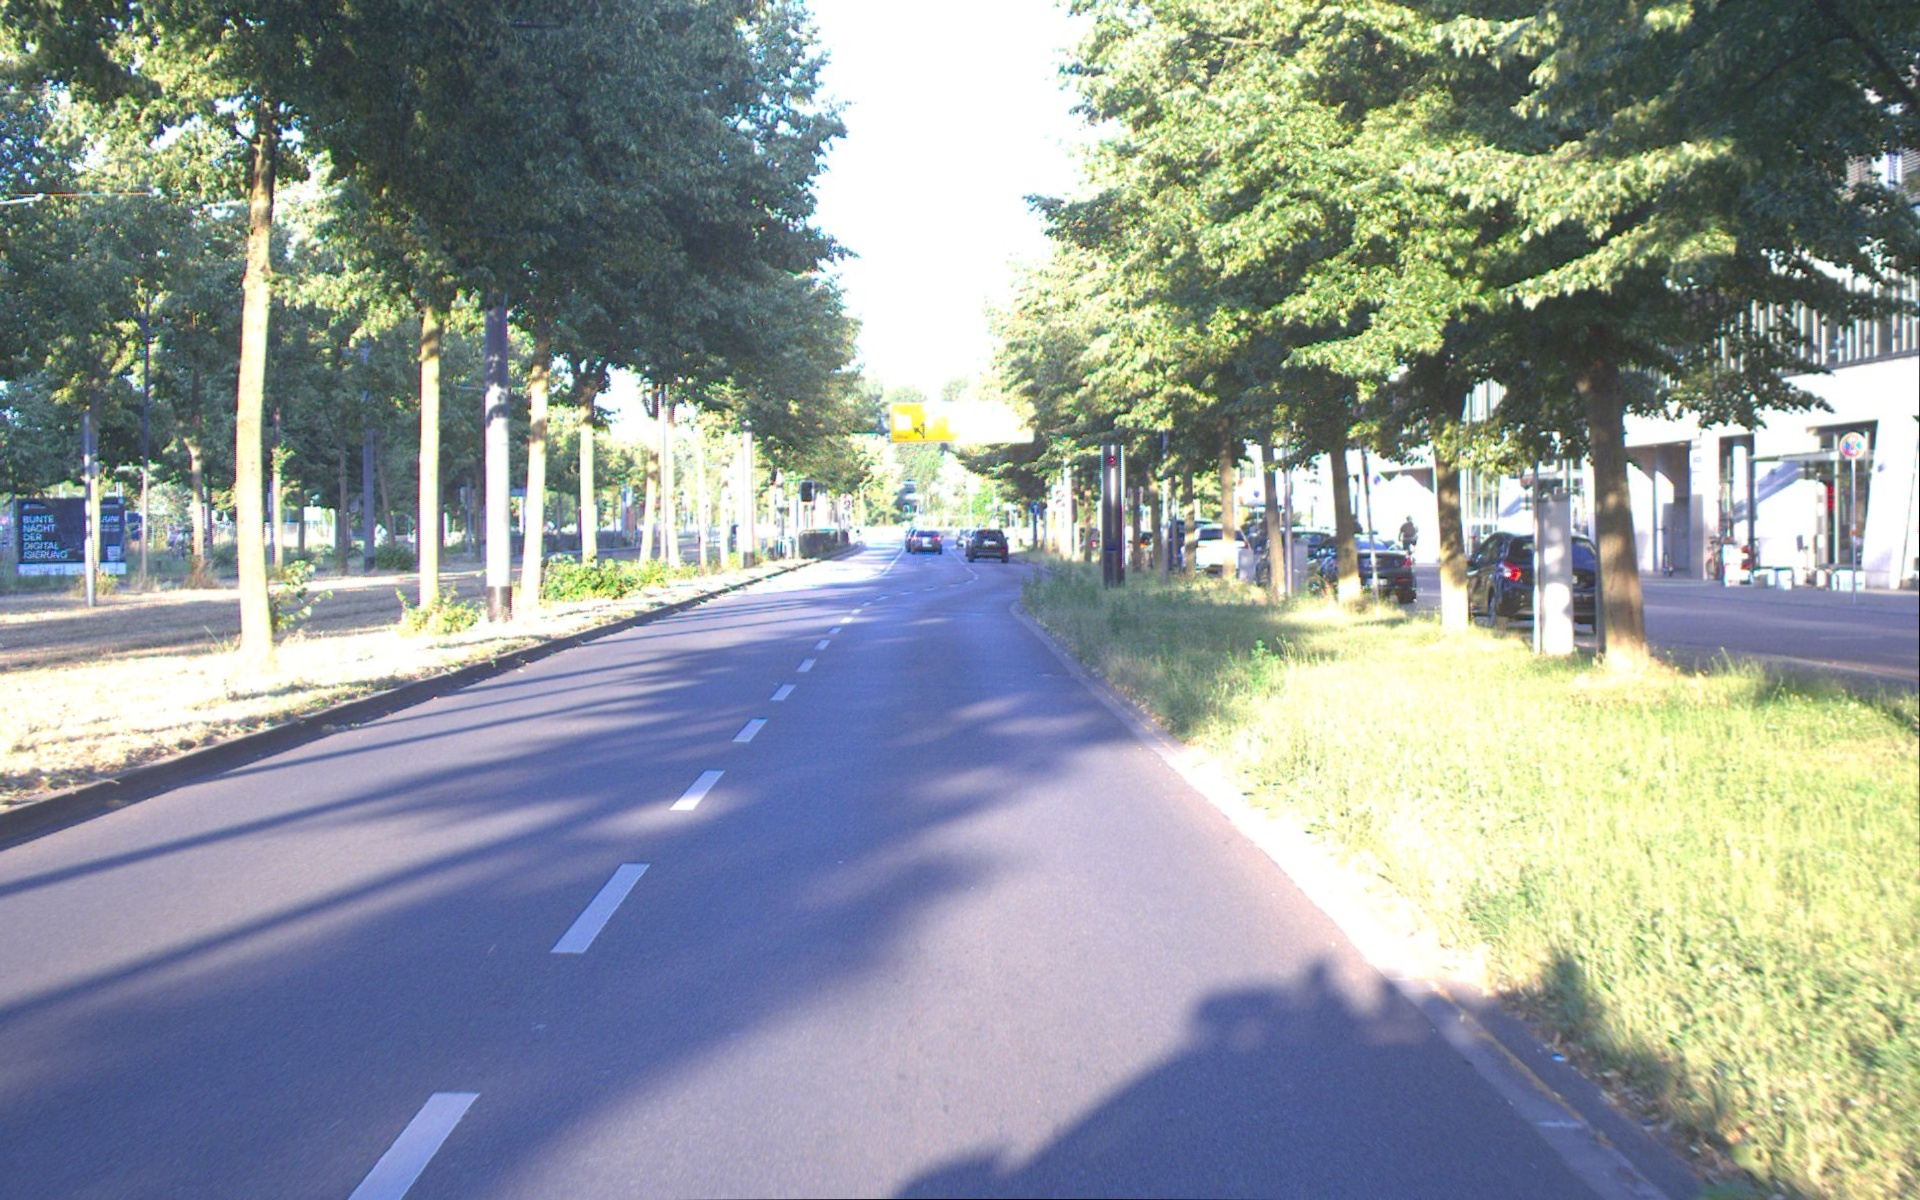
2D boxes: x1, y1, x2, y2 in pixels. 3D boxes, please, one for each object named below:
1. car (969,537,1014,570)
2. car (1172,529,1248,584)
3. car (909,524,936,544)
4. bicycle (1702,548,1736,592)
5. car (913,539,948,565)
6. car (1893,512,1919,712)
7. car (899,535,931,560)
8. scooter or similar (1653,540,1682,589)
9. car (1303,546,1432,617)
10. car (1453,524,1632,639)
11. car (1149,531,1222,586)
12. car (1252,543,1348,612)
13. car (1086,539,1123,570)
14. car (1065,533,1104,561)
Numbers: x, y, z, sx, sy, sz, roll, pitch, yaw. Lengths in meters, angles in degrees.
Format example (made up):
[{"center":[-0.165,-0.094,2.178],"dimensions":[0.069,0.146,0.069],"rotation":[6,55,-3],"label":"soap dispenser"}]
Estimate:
[{"center":[1.400,-2.110,156.053],"dimensions":[1.911,1.481,4.000],"rotation":[0,1,-1],"label":"car"},{"center":[7.585,-1.323,104.733],"dimensions":[1.993,1.637,4.878],"rotation":[0,1,0],"label":"car"},{"center":[-2.751,-4.817,251.280],"dimensions":[1.911,1.481,4.000],"rotation":[0,1,-1],"label":"car"},{"center":[17.777,-0.709,80.501],"dimensions":[0.454,1.024,1.392],"rotation":[0,1,26],"label":"bicycle"},{"center":[-1.696,-2.720,194.921],"dimensions":[1.911,1.481,4.000],"rotation":[0,1,-1],"label":"car"},{"center":[8.476,0.133,25.577],"dimensions":[1.838,1.565,4.061],"rotation":[1,1,-2],"label":"car"},{"center":[-2.740,-3.180,208.870],"dimensions":[1.911,1.481,4.000],"rotation":[0,1,-1],"label":"car"},{"center":[17.740,-0.895,86.218],"dimensions":[0.472,1.207,1.229],"rotation":[0,1,1],"label":"scooter or similar"},{"center":[8.253,-0.400,69.996],"dimensions":[1.852,1.362,4.835],"rotation":[-1,1,-2],"label":"car"},{"center":[8.277,-0.296,49.181],"dimensions":[1.780,1.489,4.000],"rotation":[3,1,-1],"label":"car"},{"center":[7.673,-1.418,117.295],"dimensions":[1.993,1.845,4.666],"rotation":[0,1,-2],"label":"car"},{"center":[7.847,-0.540,79.530],"dimensions":[1.709,1.510,3.759],"rotation":[2,1,-2],"label":"car"},{"center":[6.822,-2.155,162.883],"dimensions":[1.575,1.467,3.881],"rotation":[0,1,0],"label":"car"},{"center":[6.703,-2.864,185.116],"dimensions":[1.756,1.461,4.159],"rotation":[0,1,-3],"label":"car"}]
